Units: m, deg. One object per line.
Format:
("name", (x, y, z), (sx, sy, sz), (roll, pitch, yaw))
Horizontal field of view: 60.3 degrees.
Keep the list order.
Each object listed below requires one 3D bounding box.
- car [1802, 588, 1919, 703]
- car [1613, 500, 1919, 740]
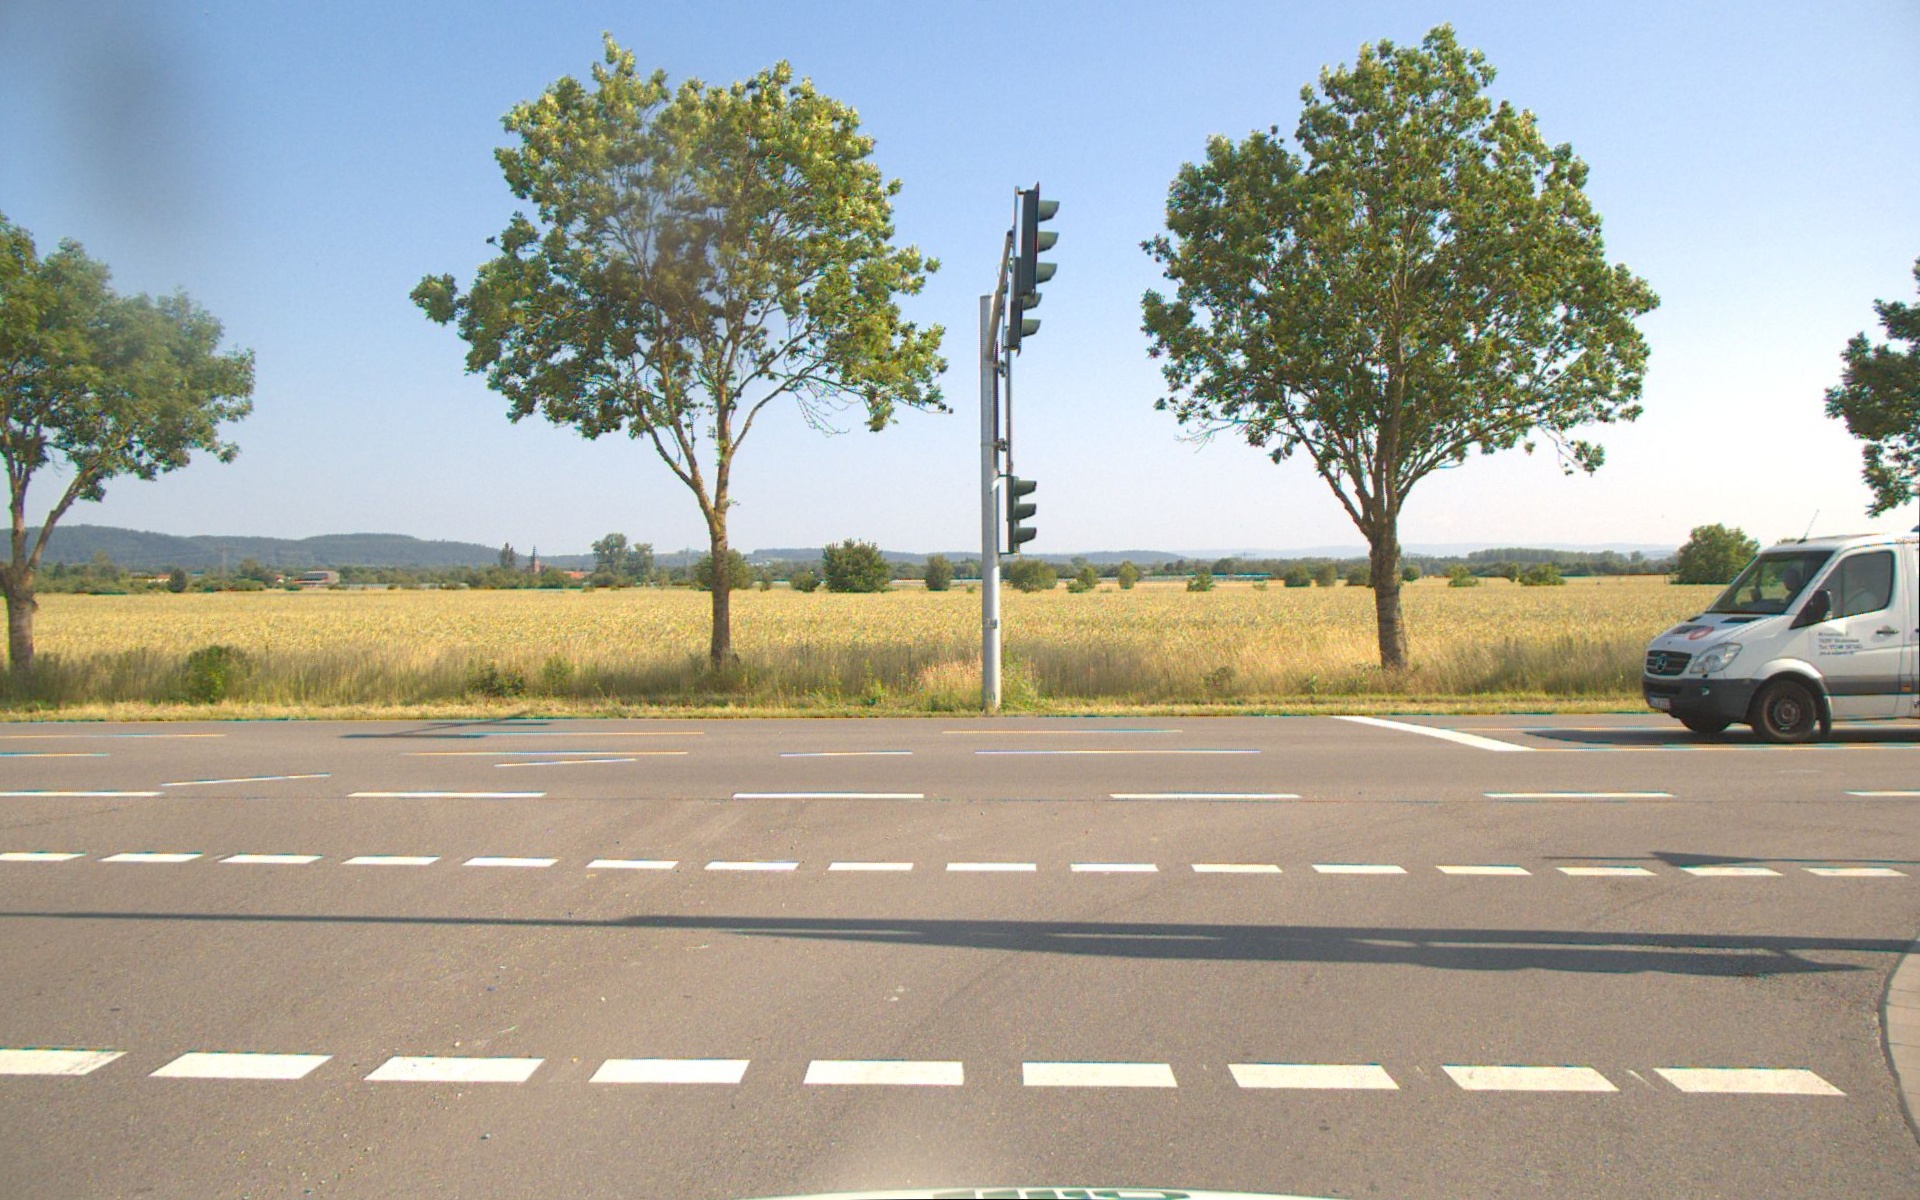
("car", (14.476, 0.615, 23.641), (3.910, 1.527, 1.998), (0, 1, -6))
("car", (10.788, 0.194, 18.928), (5.837, 2.536, 1.999), (-1, -1, -3))
